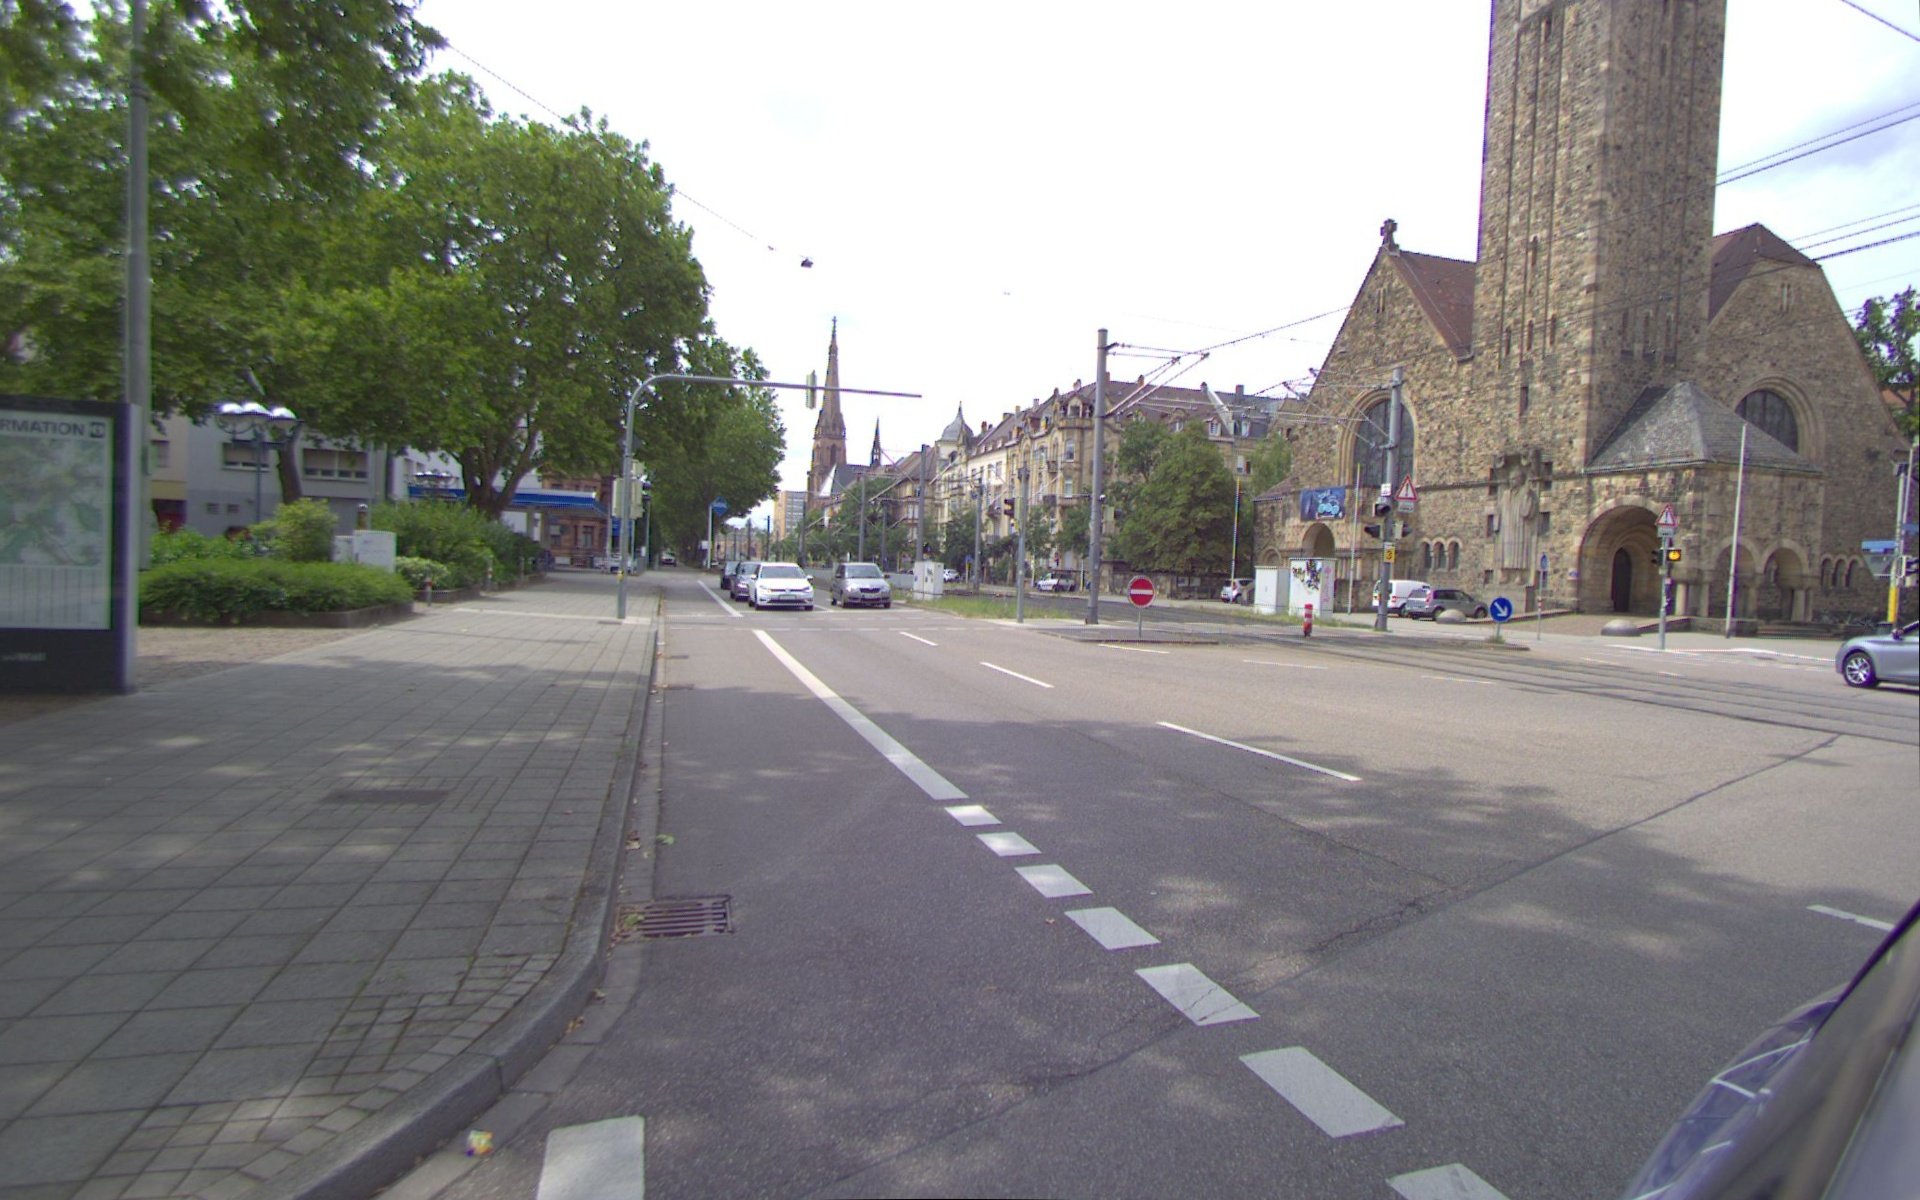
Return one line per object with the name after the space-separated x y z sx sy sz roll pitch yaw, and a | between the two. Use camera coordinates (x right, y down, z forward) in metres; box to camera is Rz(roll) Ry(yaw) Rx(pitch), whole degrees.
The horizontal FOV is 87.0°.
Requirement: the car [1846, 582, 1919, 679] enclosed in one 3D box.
16.442 0.592 15.288 1.735 1.542 4.849 2 2 0 | car

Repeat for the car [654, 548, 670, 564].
-40.255 -5.933 136.630 1.958 2.038 4.010 2 2 -16 | car

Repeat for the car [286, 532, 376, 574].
-29.771 -2.216 48.030 1.960 1.838 4.004 2 2 -4 | car

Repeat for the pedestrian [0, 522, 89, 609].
-14.919 -0.562 16.370 0.849 1.334 1.182 2 1 -18 | pedestrian

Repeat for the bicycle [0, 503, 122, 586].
-20.207 -1.226 22.603 2.138 1.726 0.724 2 1 -18 | bicycle

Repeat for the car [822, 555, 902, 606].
-3.360 -0.693 34.043 1.800 1.530 4.299 2 2 -17 | car

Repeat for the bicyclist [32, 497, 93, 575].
-20.052 -1.415 22.626 0.849 1.673 0.563 2 1 -19 | bicyclist

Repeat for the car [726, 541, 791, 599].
-7.679 -1.170 38.256 1.958 2.038 4.011 1 3 -18 | car

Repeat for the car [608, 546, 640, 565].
-24.147 -3.208 72.828 1.958 1.282 4.010 2 2 -16 | car

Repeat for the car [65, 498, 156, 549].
-38.969 -3.467 46.536 1.958 2.133 4.038 2 2 -21 | car

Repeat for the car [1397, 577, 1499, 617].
22.988 -0.134 47.710 3.915 1.671 2.005 2 2 -16 | car

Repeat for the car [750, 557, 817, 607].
-5.636 -0.618 32.013 1.801 1.400 4.298 2 2 -13 | car

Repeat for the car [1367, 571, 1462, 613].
22.664 -0.399 50.484 3.871 1.905 2.005 2 2 -16 | car

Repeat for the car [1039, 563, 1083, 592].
7.839 -1.775 79.072 1.958 2.038 4.010 2 2 -16 | car

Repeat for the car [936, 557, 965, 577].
-1.074 -3.589 109.170 1.958 2.038 4.010 1 2 -18 | car

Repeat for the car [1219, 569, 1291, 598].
18.767 -1.071 64.475 3.871 1.661 2.005 2 2 -16 | car
